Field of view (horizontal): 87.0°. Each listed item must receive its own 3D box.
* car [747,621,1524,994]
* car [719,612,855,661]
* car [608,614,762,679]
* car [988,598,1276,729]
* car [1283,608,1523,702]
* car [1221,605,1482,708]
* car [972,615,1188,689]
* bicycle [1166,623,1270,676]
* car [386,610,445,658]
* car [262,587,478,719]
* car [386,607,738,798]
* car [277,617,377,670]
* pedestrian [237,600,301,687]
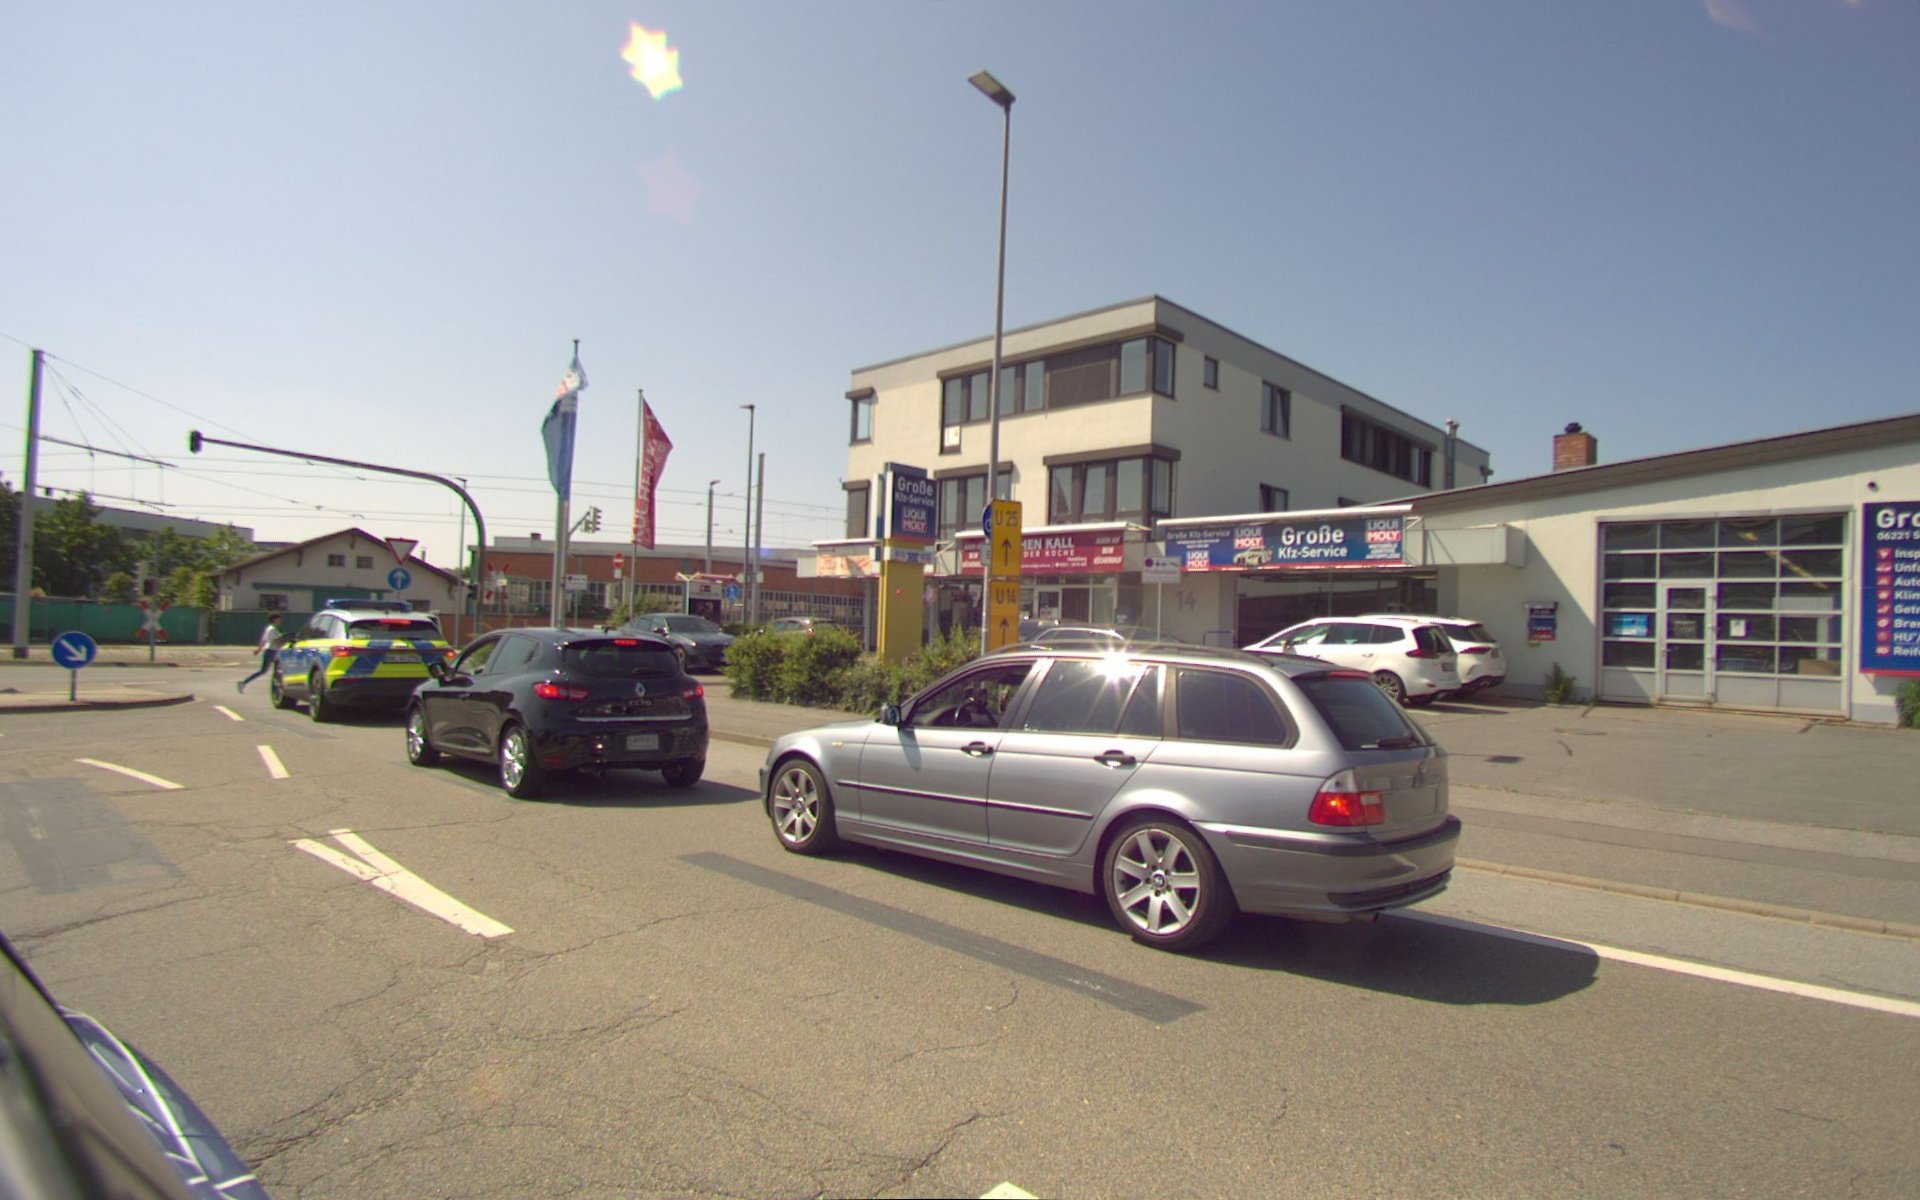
[{"bbox_3d":[0.736,0.893,6.044,4.325,1.415,1.722,-1,-5,43],"label":"car"},{"bbox_3d":[-5.405,1.122,31.229,1.885,1.399,4.488,4,-3,-44],"label":"car"},{"bbox_3d":[-7.506,1.216,27.331,1.885,1.585,4.821,4,-3,-44],"label":"car"},{"bbox_3d":[2.547,0.910,15.537,4.002,1.728,1.883,-1,-3,45],"label":"car"},{"bbox_3d":[9.541,1.140,22.037,1.885,1.830,4.421,4,-3,-44],"label":"car"},{"bbox_3d":[7.724,1.052,20.284,1.885,1.721,4.483,4,-1,-43],"label":"car"},{"bbox_3d":[2.493,1.080,21.807,1.885,1.432,4.421,4,-3,-44],"label":"car"},{"bbox_3d":[6.521,1.253,25.676,2.450,1.291,0.700,1,-2,2],"label":"bicycle"},{"bbox_3d":[-23.681,1.489,43.958,1.963,1.962,4.450,3,-3,-31],"label":"car"},{"bbox_3d":[-9.302,0.776,15.794,1.871,1.772,4.356,4,-3,-44],"label":"car"},{"bbox_3d":[-4.050,0.874,9.892,1.641,1.465,4.244,6,-5,-44],"label":"car"},{"bbox_3d":[-19.705,1.346,31.691,1.738,1.465,4.121,-2,-2,-19],"label":"car"},{"bbox_3d":[-13.923,0.870,20.392,0.981,1.698,0.801,3,-3,-36],"label":"pedestrian"}]
